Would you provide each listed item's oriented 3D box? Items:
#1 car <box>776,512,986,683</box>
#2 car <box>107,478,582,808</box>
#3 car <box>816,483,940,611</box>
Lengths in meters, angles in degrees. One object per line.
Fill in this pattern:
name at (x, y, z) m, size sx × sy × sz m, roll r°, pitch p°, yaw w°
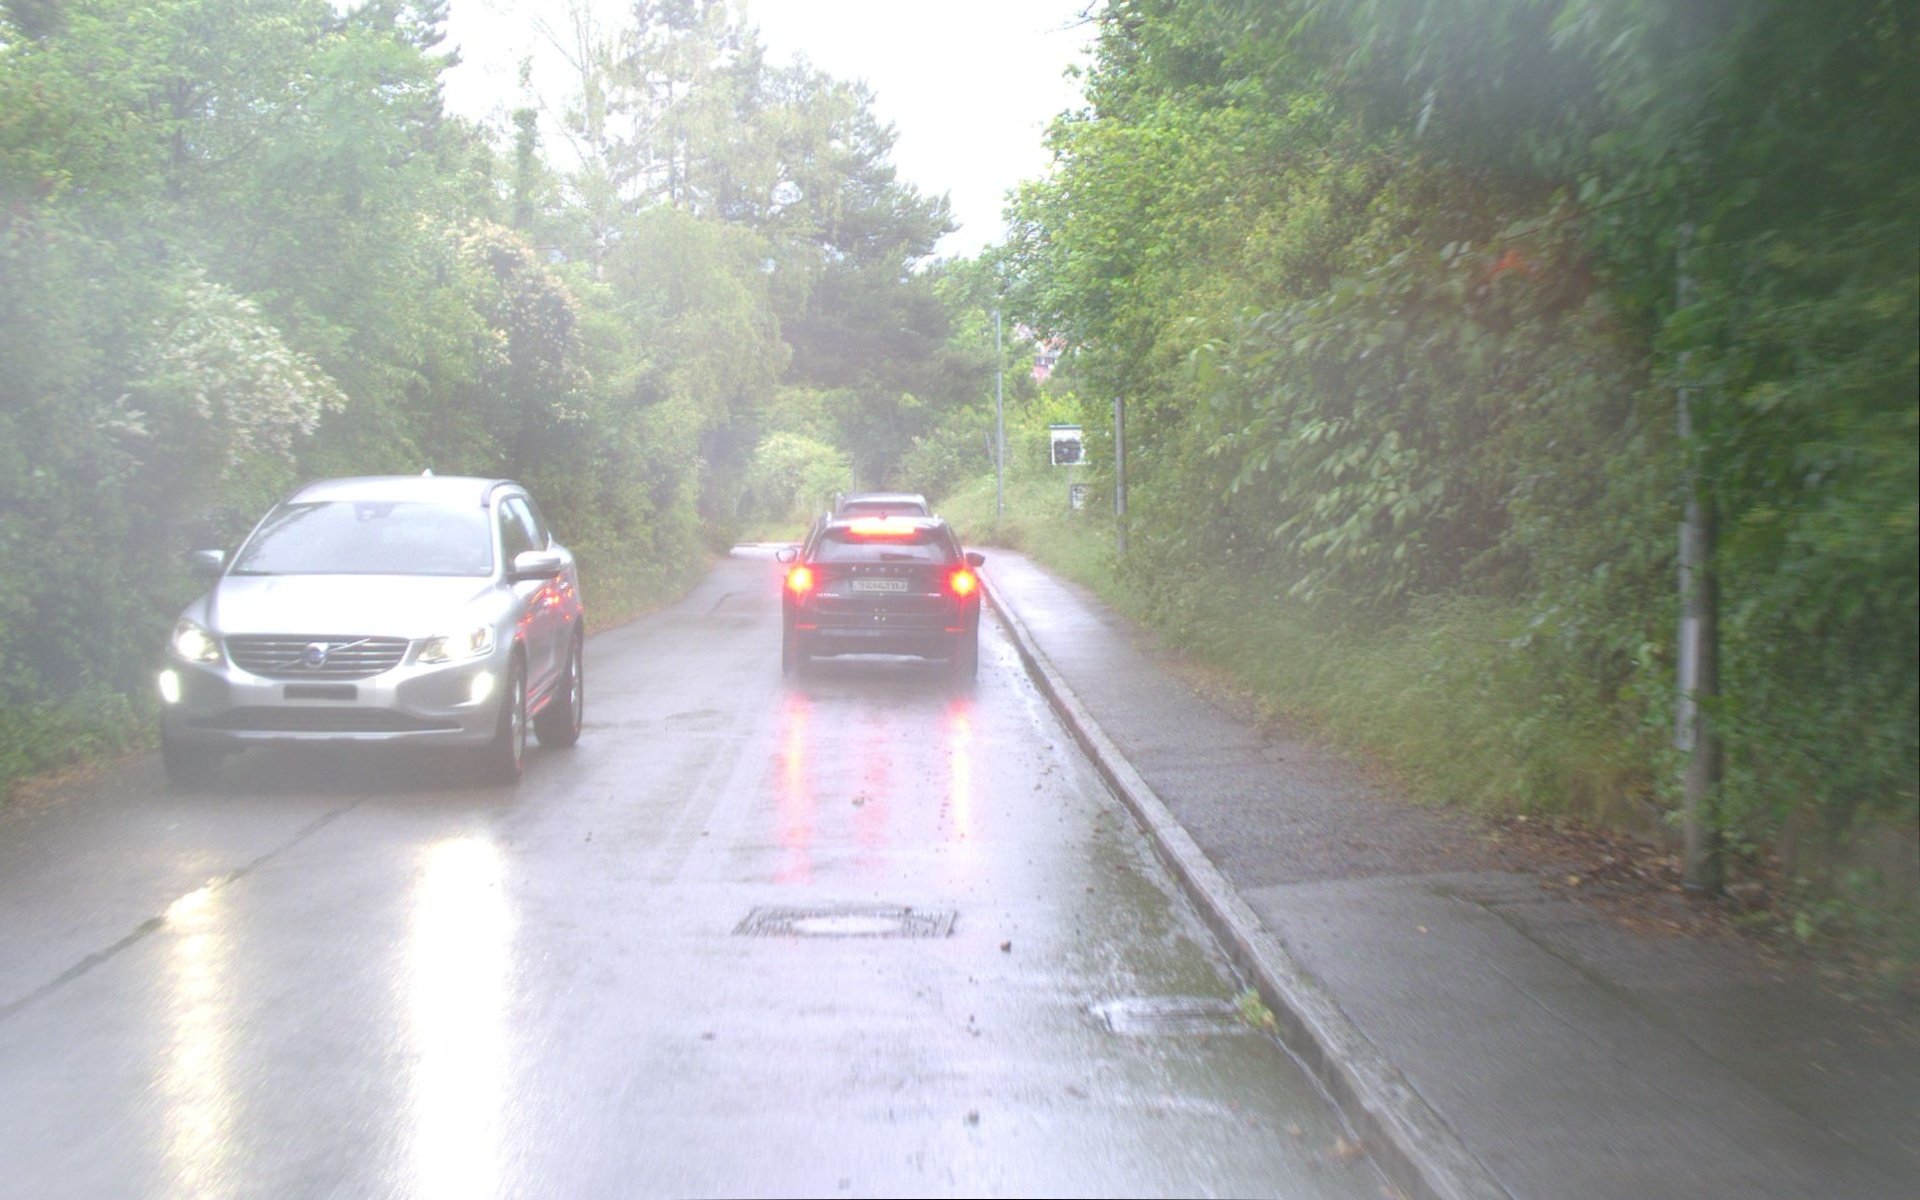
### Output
car at (-0.783, -0.069, 31.550) m, size 1.699 × 1.445 × 4.001 m, roll -1°, pitch 1°, yaw -4°
car at (-3.375, 0.148, 19.663) m, size 2.048 × 1.595 × 4.230 m, roll 1°, pitch 3°, yaw -2°
car at (-1.297, -0.787, 53.661) m, size 1.863 × 1.737 × 4.000 m, roll 0°, pitch -3°, yaw -2°
